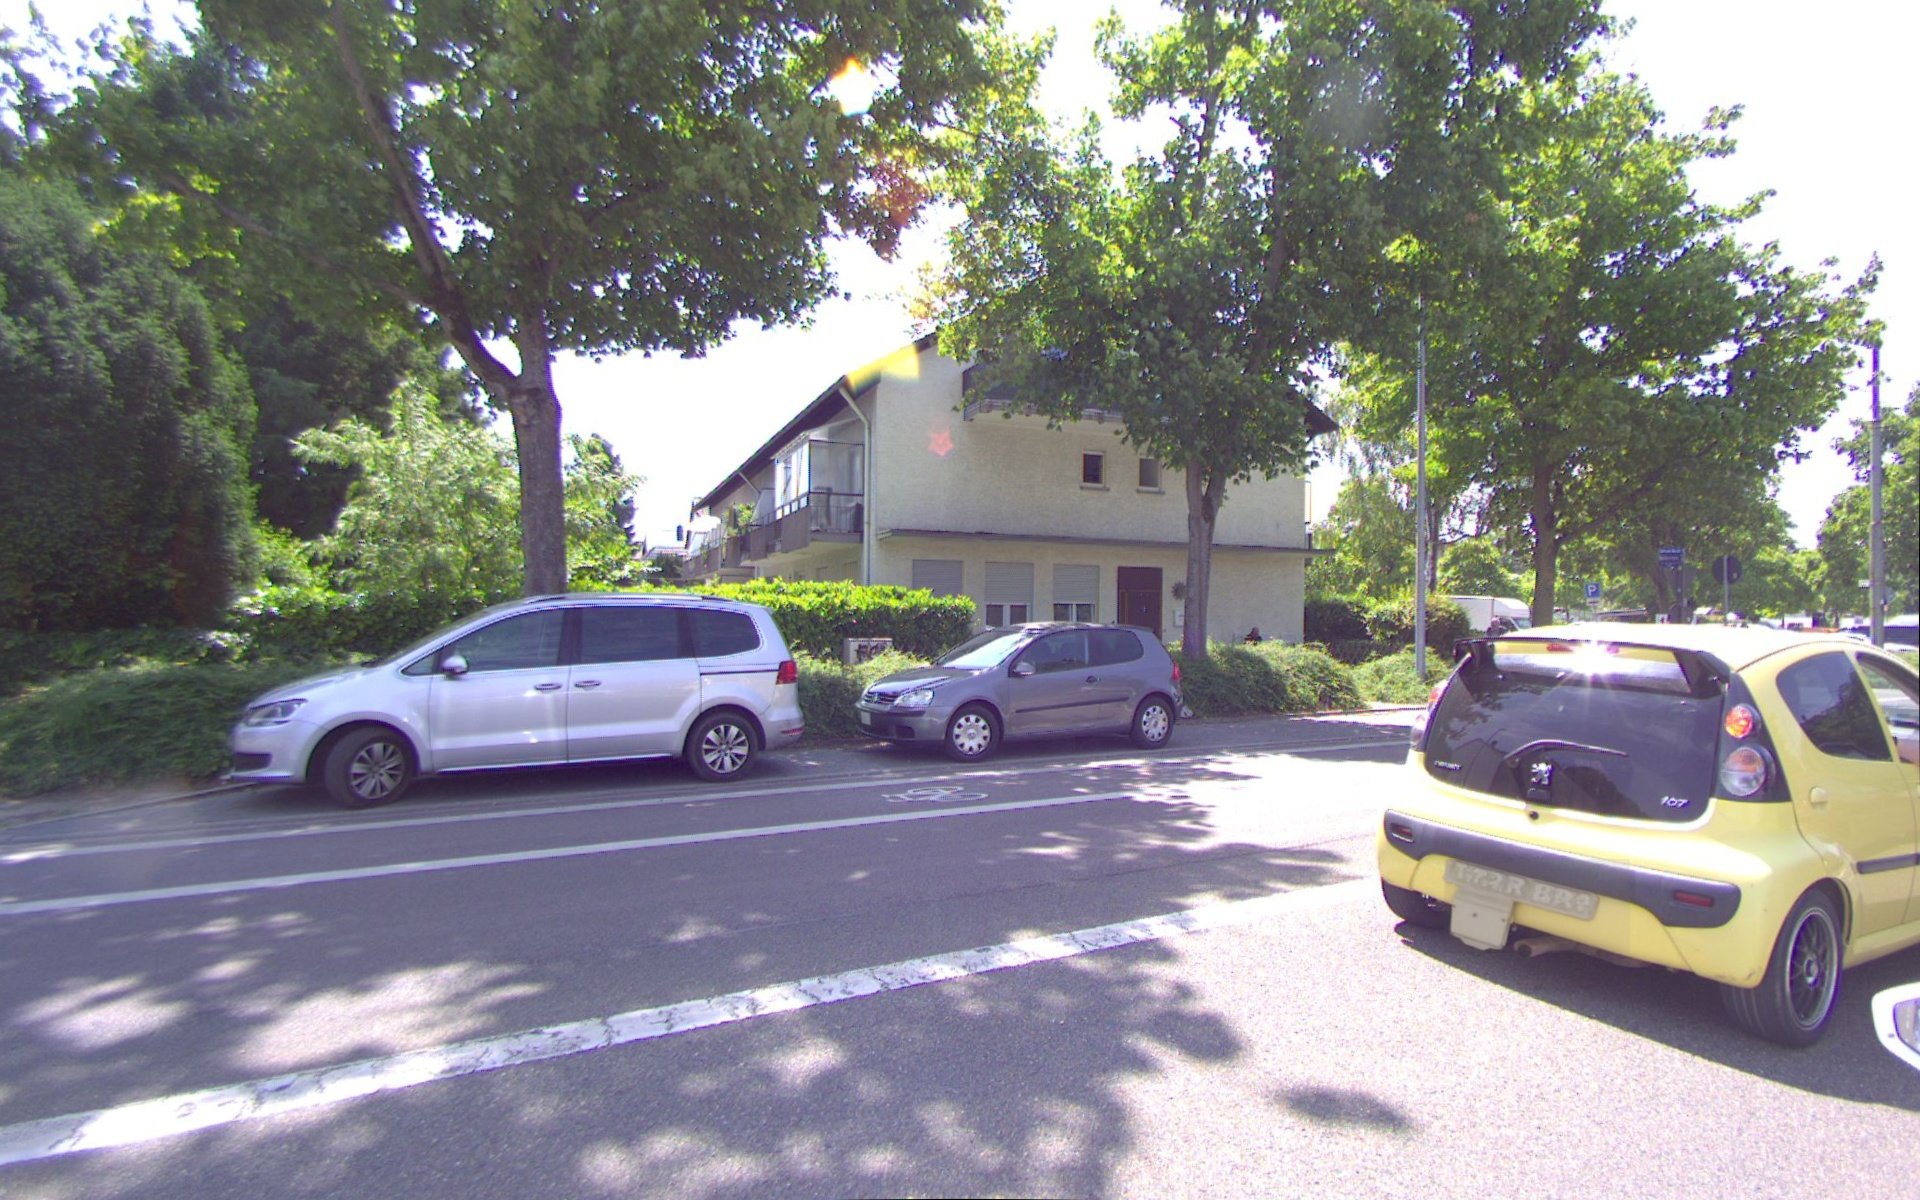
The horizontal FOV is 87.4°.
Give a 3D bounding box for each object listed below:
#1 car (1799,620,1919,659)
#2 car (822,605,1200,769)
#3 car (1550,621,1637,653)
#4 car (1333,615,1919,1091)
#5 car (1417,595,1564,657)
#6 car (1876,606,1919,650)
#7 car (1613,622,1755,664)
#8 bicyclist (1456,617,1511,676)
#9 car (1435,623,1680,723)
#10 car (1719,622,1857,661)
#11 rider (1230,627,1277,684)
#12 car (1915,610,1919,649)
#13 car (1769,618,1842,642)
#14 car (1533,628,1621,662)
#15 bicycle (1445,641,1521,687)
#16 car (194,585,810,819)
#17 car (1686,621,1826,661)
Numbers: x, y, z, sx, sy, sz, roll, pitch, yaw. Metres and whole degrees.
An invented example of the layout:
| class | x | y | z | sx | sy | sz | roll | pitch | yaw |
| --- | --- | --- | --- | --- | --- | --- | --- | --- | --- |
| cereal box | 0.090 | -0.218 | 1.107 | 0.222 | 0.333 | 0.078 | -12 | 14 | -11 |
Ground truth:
| class | x | y | z | sx | sy | sz | roll | pitch | yaw |
| --- | --- | --- | --- | --- | --- | --- | --- | --- | --- |
| car | 43.181 | 1.855 | 48.296 | 1.975 | 1.769 | 3.968 | 1 | -1 | -30 |
| car | 0.655 | 0.905 | 11.829 | 4.132 | 1.585 | 1.809 | 1 | 1 | -31 |
| car | 37.442 | 2.161 | 59.442 | 1.799 | 1.675 | 3.957 | 2 | 1 | -37 |
| car | 3.625 | 0.828 | 4.751 | 3.475 | 1.430 | 1.682 | 1 | 1 | -31 |
| car | 28.772 | 1.337 | 54.803 | 2.337 | 3.005 | 6.816 | 2 | 1 | -30 |
| car | 52.344 | 1.590 | 53.258 | 2.349 | 2.274 | 5.076 | 2 | 1 | -28 |
| car | 29.385 | 1.709 | 40.904 | 1.891 | 1.606 | 4.321 | 1 | -1 | -31 |
| bicyclist | 12.757 | 1.127 | 24.477 | 0.817 | 1.392 | 0.806 | 2 | 1 | -27 |
| car | 10.579 | 1.208 | 17.710 | 4.397 | 1.496 | 1.809 | 1 | 1 | -31 |
| car | 36.360 | 1.776 | 44.232 | 1.886 | 1.606 | 4.333 | 1 | -1 | -23 |
| rider | 7.386 | 1.377 | 25.271 | 0.800 | 1.392 | 0.824 | 1 | -1 | -22 |
| car | 58.872 | 1.863 | 57.858 | 2.349 | 2.274 | 5.076 | 2 | 1 | -28 |
| car | 66.343 | 2.321 | 78.879 | 1.795 | 1.638 | 4.000 | 2 | 1 | -30 |
| car | 35.541 | 2.589 | 57.933 | 1.799 | 1.675 | 3.957 | 2 | 1 | -37 |
| bicycle | 12.759 | 1.564 | 24.482 | 1.805 | 1.043 | 0.698 | 2 | 1 | -27 |
| car | -3.937 | 0.758 | 9.245 | 4.725 | 1.687 | 1.863 | 1 | 0 | -31 |
| car | 33.908 | 1.728 | 42.926 | 1.886 | 1.606 | 4.332 | 1 | -1 | -24 |
